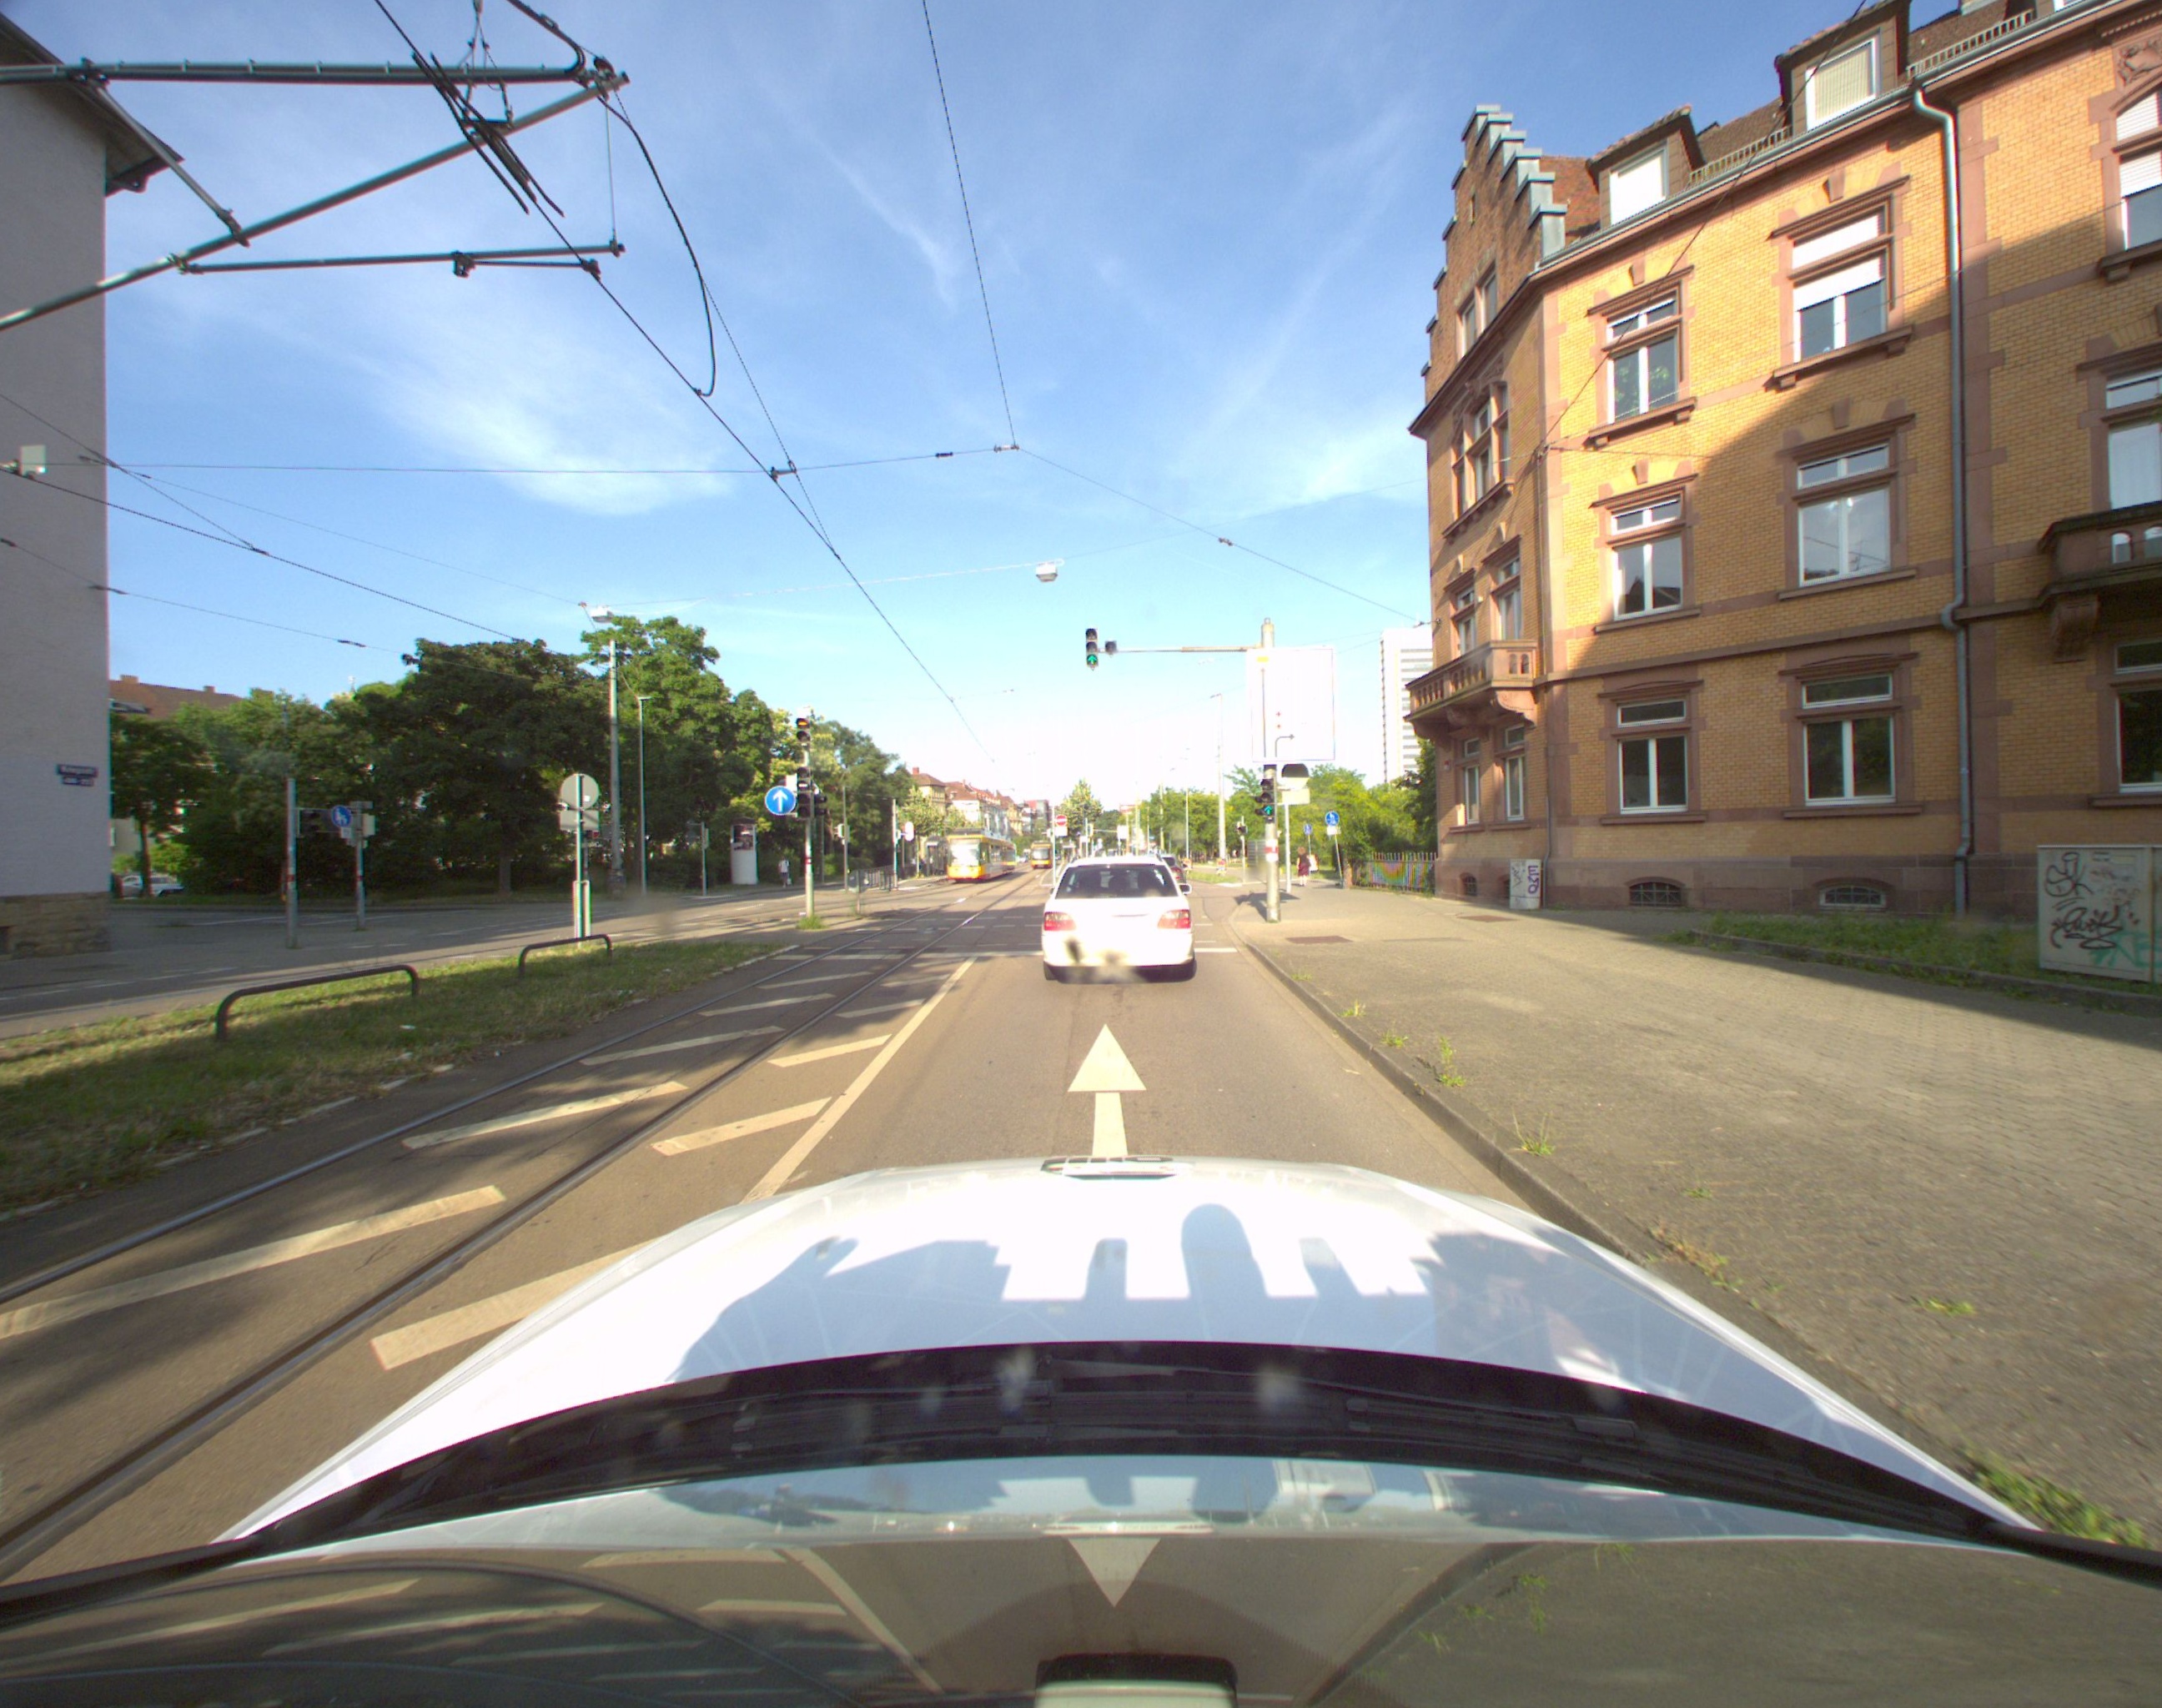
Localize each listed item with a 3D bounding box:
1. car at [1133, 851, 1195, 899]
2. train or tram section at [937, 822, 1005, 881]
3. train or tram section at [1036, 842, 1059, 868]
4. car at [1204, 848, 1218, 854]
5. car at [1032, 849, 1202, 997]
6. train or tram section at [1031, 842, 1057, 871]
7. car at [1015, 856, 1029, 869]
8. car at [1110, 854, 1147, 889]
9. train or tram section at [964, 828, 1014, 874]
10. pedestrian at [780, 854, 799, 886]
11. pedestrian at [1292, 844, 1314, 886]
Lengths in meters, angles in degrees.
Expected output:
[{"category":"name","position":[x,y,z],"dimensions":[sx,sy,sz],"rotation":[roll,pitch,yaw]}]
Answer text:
[{"category":"car","position":[2.929,0.716,29.542],"dimensions":[2.024,1.605,4.003],"rotation":[0,0,3]},{"category":"train or tram section","position":[-7.164,-0.206,55.483],"dimensions":[3.154,3.479,14.520],"rotation":[0,0,-2]},{"category":"train or tram section","position":[-4.704,0.110,117.169],"dimensions":[2.841,3.479,13.194],"rotation":[0,0,-1]},{"category":"car","position":[37.999,-0.964,238.459],"dimensions":[3.959,1.651,2.007],"rotation":[-1,0,13]},{"category":"car","position":[0.427,0.718,10.669],"dimensions":[1.752,1.503,4.001],"rotation":[-2,0,1]},{"category":"train or tram section","position":[-4.606,0.283,104.175],"dimensions":[2.841,3.479,13.195],"rotation":[0,0,-1]},{"category":"car","position":[-13.147,1.894,181.097],"dimensions":[2.588,2.735,7.466],"rotation":[0,0,-1]},{"category":"car","position":[2.453,0.848,42.087],"dimensions":[1.780,1.690,4.004],"rotation":[0,0,3]},{"category":"train or tram section","position":[-7.649,-0.292,69.962],"dimensions":[3.154,3.479,14.460],"rotation":[0,0,-2]},{"category":"pedestrian","position":[-17.640,0.963,49.312],"dimensions":[1.004,1.909,0.705],"rotation":[0,0,-14]},{"category":"pedestrian","position":[9.354,0.459,34.315],"dimensions":[0.612,1.692,0.549],"rotation":[-6,0,3]}]
